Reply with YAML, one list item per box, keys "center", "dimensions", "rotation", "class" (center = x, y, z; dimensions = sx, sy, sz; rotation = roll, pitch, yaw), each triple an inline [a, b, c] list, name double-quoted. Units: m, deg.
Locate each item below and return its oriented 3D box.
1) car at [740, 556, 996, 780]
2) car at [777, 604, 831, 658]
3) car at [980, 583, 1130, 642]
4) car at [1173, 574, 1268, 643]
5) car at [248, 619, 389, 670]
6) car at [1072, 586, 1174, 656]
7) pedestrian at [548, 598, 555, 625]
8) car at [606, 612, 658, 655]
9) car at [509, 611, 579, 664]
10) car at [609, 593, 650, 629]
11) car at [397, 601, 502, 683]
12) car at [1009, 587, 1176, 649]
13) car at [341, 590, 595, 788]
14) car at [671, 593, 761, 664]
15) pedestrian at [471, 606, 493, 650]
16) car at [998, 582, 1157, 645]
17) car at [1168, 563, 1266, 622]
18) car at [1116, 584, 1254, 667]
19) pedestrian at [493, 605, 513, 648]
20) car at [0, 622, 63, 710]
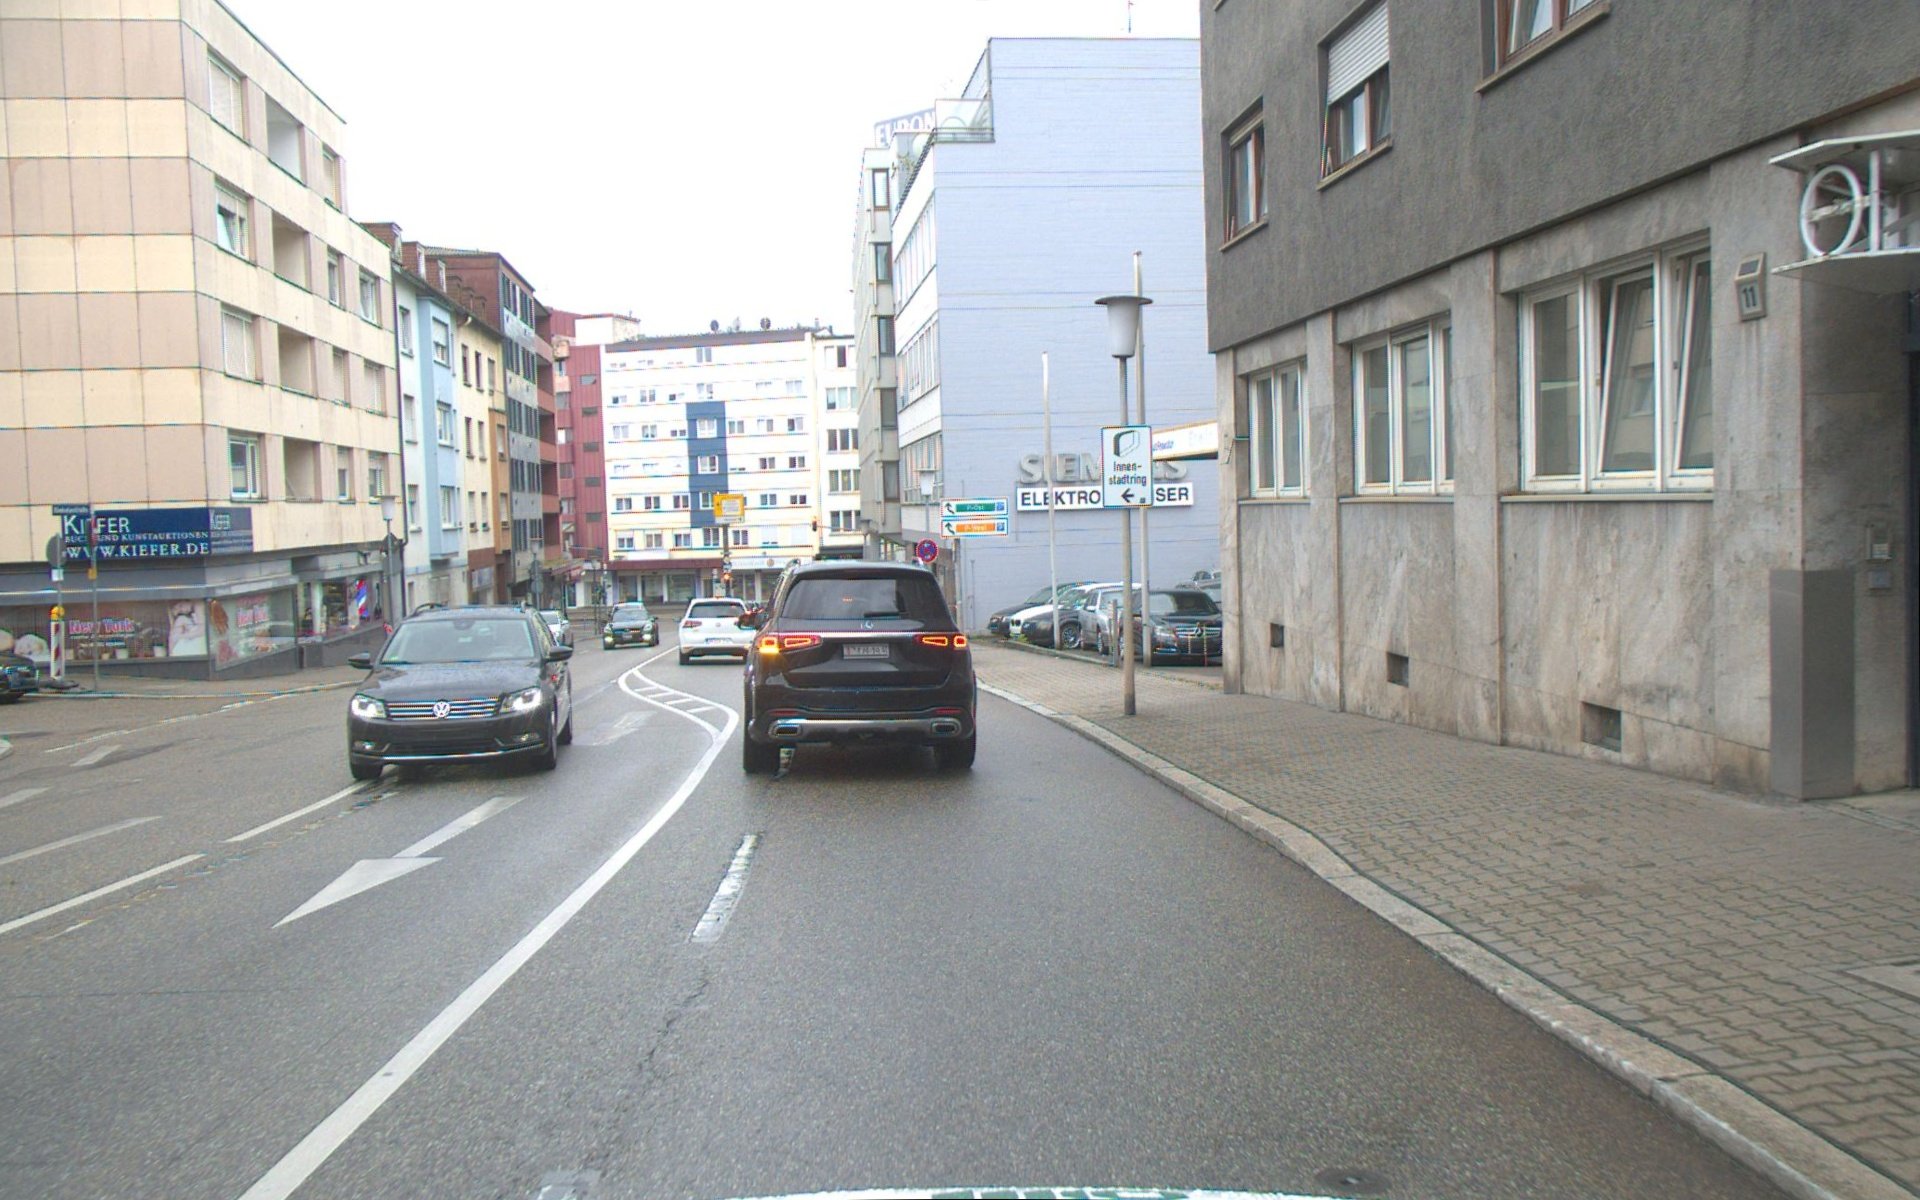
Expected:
- center: [-1.031, 0.535, 15.589]
  dimensions: [1.983, 1.770, 4.738]
  rotation: [0, 0, -9]
  class: "car"
- center: [-4.918, 0.944, 51.837]
  dimensions: [1.494, 1.575, 3.101]
  rotation: [-1, 1, -9]
  class: "car"
- center: [2.722, 0.371, 47.336]
  dimensions: [3.937, 1.625, 1.784]
  rotation: [0, -1, -26]
  class: "car"
- center: [6.093, 0.229, 38.969]
  dimensions: [1.497, 1.539, 3.389]
  rotation: [-1, -1, -4]
  class: "car"
- center: [-20.586, 1.418, 53.196]
  dimensions: [3.913, 1.525, 1.795]
  rotation: [-1, -1, -9]
  class: "car"
- center: [3.691, 0.448, 38.031]
  dimensions: [1.535, 1.503, 4.064]
  rotation: [0, 0, -6]
  class: "car"
- center: [-22.585, 0.635, 91.435]
  dimensions: [0.311, 1.499, 0.339]
  rotation: [-1, 4, -2]
  class: "pedestrian"
- center: [-11.459, 1.131, 57.772]
  dimensions: [1.684, 1.340, 4.132]
  rotation: [-2, 1, -11]
  class: "car"
- center: [-13.987, 1.240, 55.765]
  dimensions: [1.712, 1.565, 4.634]
  rotation: [-4, 0, -8]
  class: "car"
- center: [-18.177, 0.583, 91.110]
  dimensions: [1.835, 1.783, 4.391]
  rotation: [-4, 1, -8]
  class: "car"
- center: [-11.464, 0.929, 37.393]
  dimensions: [1.684, 1.613, 4.133]
  rotation: [-4, 0, -10]
  class: "car"
- center: [3.387, 0.471, 42.244]
  dimensions: [3.937, 1.521, 1.719]
  rotation: [0, -1, -26]
  class: "car"
- center: [-4.549, 0.759, 15.884]
  dimensions: [1.691, 1.542, 4.360]
  rotation: [-3, 0, -9]
  class: "car"
- center: [-5.746, 0.629, 38.556]
  dimensions: [1.798, 1.487, 4.366]
  rotation: [-3, 0, -12]
  class: "car"
- center: [-19.090, 1.125, 66.118]
  dimensions: [0.726, 1.680, 0.605]
  rotation: [-2, 4, -10]
  class: "pedestrian"
- center: [3.178, 0.367, 44.772]
  dimensions: [3.937, 1.625, 1.784]
  rotation: [0, -1, -26]
  class: "car"
- center: [7.525, -0.187, 48.796]
  dimensions: [1.615, 1.625, 3.856]
  rotation: [0, -1, -11]
  class: "car"
- center: [4.339, 0.456, 32.541]
  dimensions: [1.762, 1.503, 4.480]
  rotation: [0, 0, -5]
  class: "car"
- center: [-18.405, 1.066, 66.594]
  dimensions: [0.659, 1.680, 0.605]
  rotation: [-2, 4, -10]
  class: "pedestrian"
- center: [-19.120, 1.205, 30.435]
  dimensions: [4.241, 1.539, 1.899]
  rotation: [-1, 0, 4]
  class: "car"
